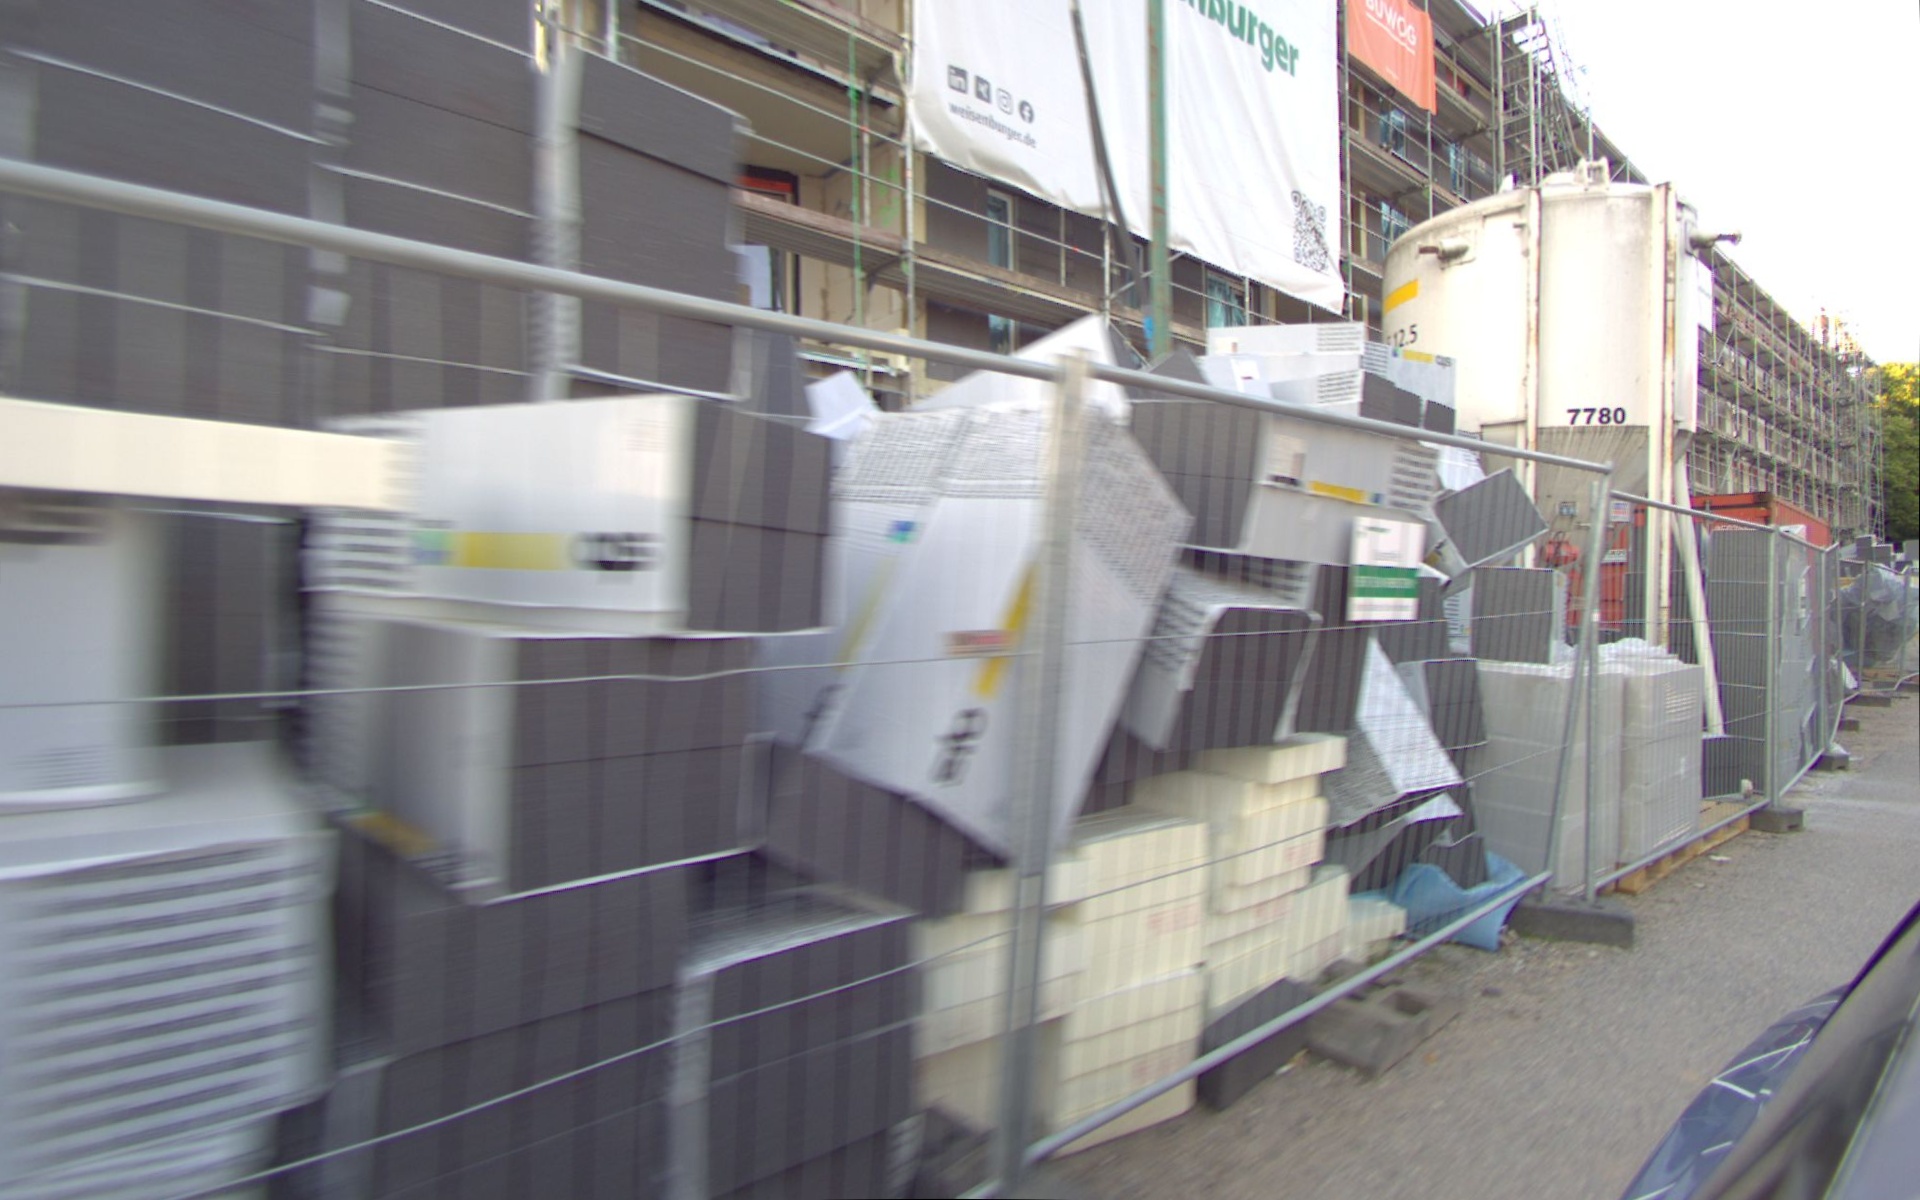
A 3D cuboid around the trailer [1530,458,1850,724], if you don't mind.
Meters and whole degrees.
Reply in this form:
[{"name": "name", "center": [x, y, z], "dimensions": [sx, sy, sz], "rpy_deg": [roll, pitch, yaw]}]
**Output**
[{"name": "trailer", "center": [10.492, -0.130, 14.284], "dimensions": [6.133, 2.948, 2.576], "rpy_deg": [-1, 0, -44]}]
